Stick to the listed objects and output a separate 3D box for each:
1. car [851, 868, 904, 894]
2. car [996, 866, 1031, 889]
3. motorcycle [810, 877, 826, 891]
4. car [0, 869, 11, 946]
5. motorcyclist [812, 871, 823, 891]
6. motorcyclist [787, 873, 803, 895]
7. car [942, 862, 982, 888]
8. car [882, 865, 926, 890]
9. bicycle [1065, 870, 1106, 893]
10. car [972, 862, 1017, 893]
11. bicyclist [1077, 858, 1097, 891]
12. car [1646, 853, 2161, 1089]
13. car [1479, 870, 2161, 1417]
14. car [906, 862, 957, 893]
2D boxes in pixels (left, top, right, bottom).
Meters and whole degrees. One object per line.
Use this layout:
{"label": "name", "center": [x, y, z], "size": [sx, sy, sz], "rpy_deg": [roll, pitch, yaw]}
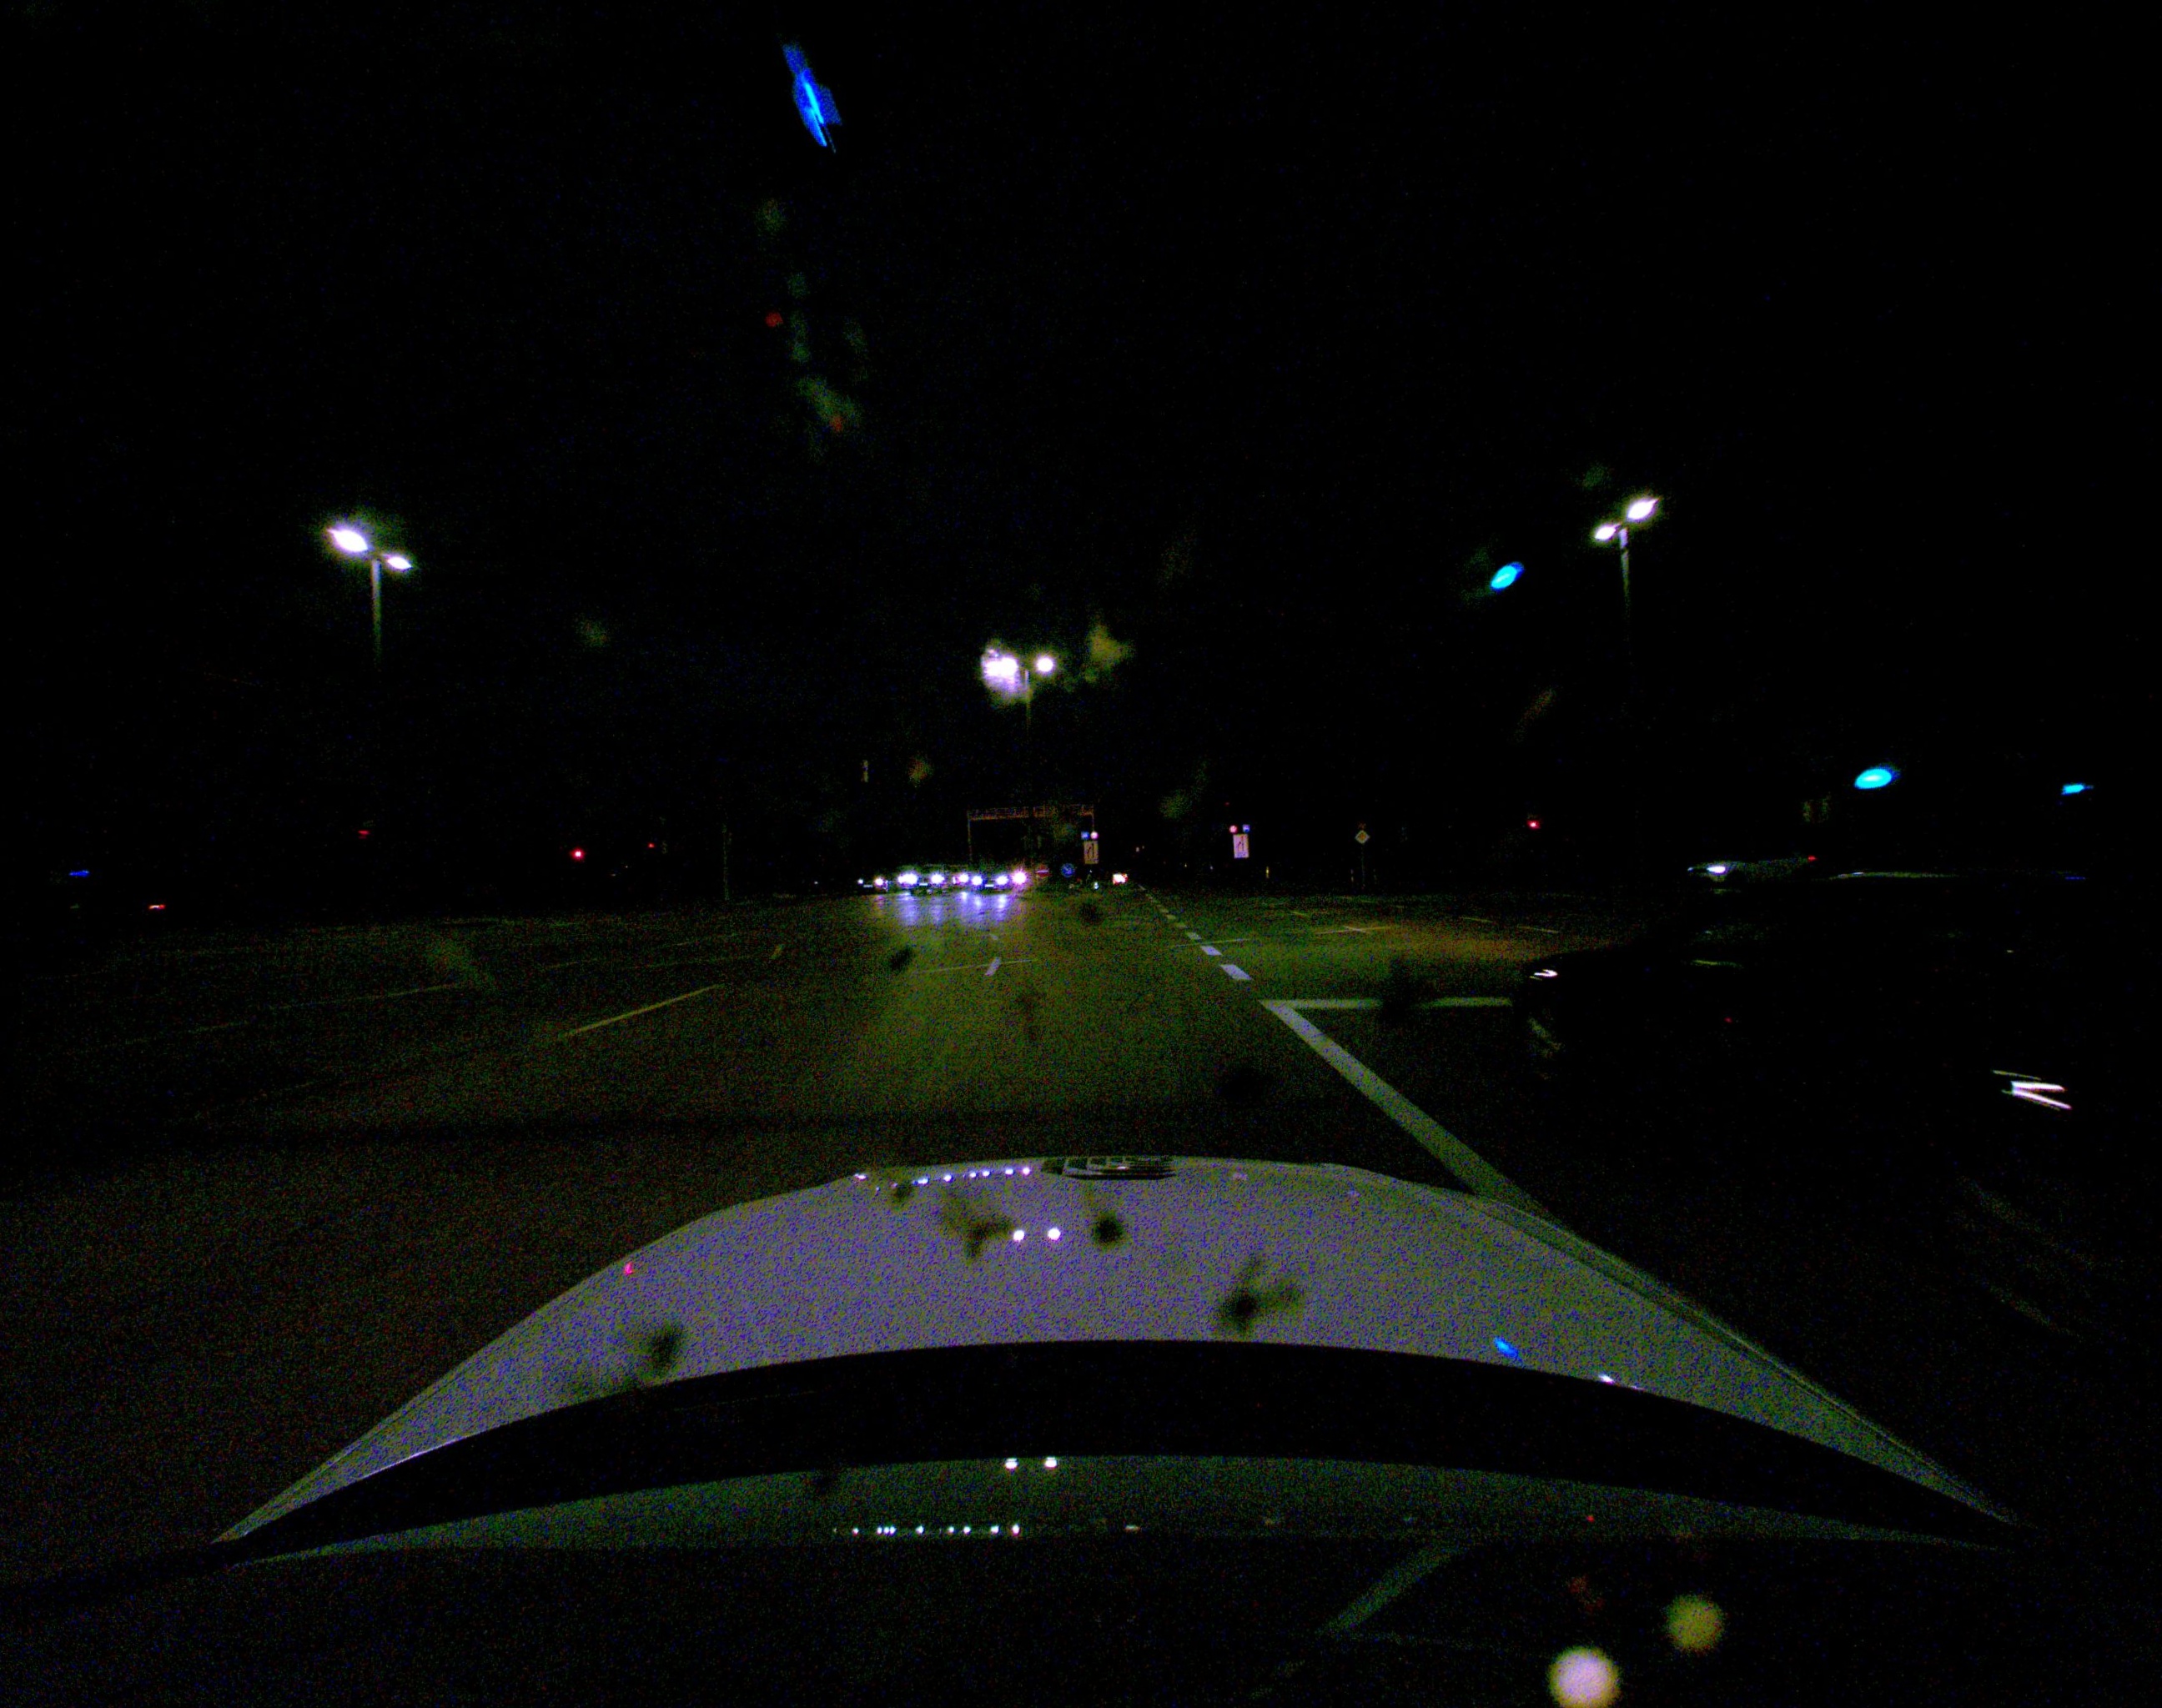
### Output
{"label": "car", "center": [-12.118, 1.577, 48.856], "size": [1.772, 1.446, 4.296], "rpy_deg": [-1, 0, 5]}
{"label": "car", "center": [-4.584, 1.570, 55.590], "size": [1.765, 1.481, 3.914], "rpy_deg": [0, -1, 4]}
{"label": "motorcycle", "center": [-23.976, 2.746, 74.219], "size": [0.846, 1.181, 1.818], "rpy_deg": [-5, -3, -5]}
{"label": "car", "center": [-27.946, 1.307, 18.556], "size": [4.741, 1.814, 1.850], "rpy_deg": [-1, -1, 1]}
{"label": "motorcyclist", "center": [-24.005, 2.436, 74.239], "size": [0.681, 1.759, 0.789], "rpy_deg": [-5, -3, -5]}
{"label": "motorcyclist", "center": [-24.500, 2.564, 69.833], "size": [0.911, 1.809, 0.870], "rpy_deg": [-6, -4, 0]}
{"label": "car", "center": [-7.962, 1.396, 54.918], "size": [1.738, 1.626, 4.367], "rpy_deg": [-1, 0, 4]}
{"label": "car", "center": [-11.934, 1.562, 55.186], "size": [1.824, 1.524, 4.003], "rpy_deg": [-2, 0, 3]}
{"label": "bicycle", "center": [0.212, 1.404, 41.370], "size": [2.057, 1.101, 0.694], "rpy_deg": [-1, -1, -3]}
{"label": "car", "center": [-5.007, 1.335, 47.686], "size": [1.844, 1.633, 4.589], "rpy_deg": [-1, 0, 3]}
{"label": "bicyclist", "center": [0.296, 1.022, 41.397], "size": [0.994, 1.651, 0.603], "rpy_deg": [-1, -1, -3]}
{"label": "car", "center": [7.216, 0.751, 7.145], "size": [1.614, 1.443, 4.116], "rpy_deg": [-1, -1, 0]}
{"label": "car", "center": [3.805, 0.800, 3.815], "size": [1.784, 1.443, 4.535], "rpy_deg": [0, -1, 2]}
{"label": "car", "center": [-8.678, 1.358, 47.628], "size": [1.900, 1.682, 4.424], "rpy_deg": [-1, 0, 4]}
